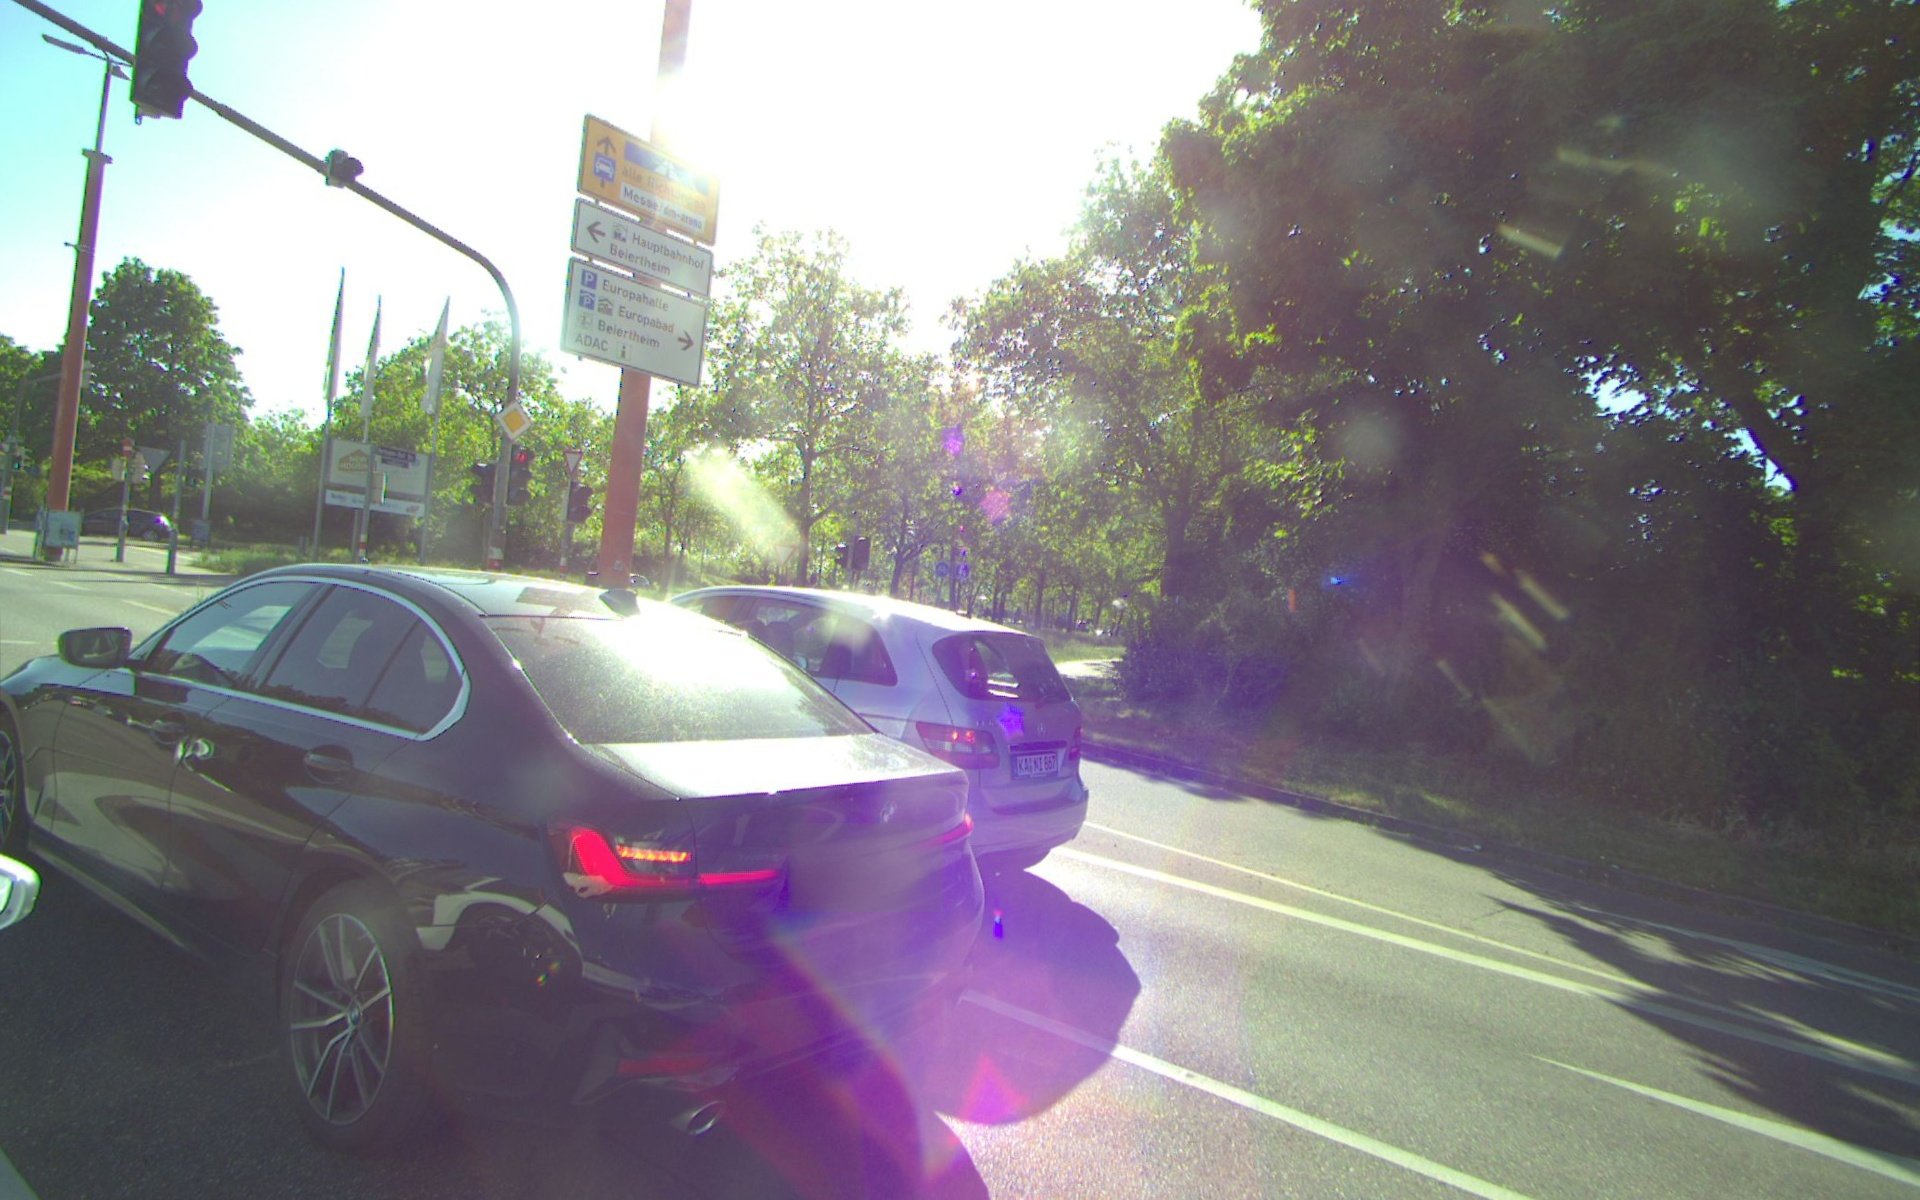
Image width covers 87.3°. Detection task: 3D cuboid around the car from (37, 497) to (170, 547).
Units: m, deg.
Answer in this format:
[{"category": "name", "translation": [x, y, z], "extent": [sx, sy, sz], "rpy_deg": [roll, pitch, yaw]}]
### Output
[{"category": "car", "translation": [-39.231, -3.530, 46.237], "extent": [4.238, 1.592, 2.148], "rpy_deg": [8, -1, -32]}]

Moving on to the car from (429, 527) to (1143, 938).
[{"category": "car", "translation": [-1.286, 0.640, 6.792], "extent": [4.403, 1.706, 1.970], "rpy_deg": [7, -1, 32]}]

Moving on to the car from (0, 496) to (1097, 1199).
[{"category": "car", "translation": [-1.964, 0.528, 3.884], "extent": [4.403, 1.411, 1.996], "rpy_deg": [7, 0, 32]}]
